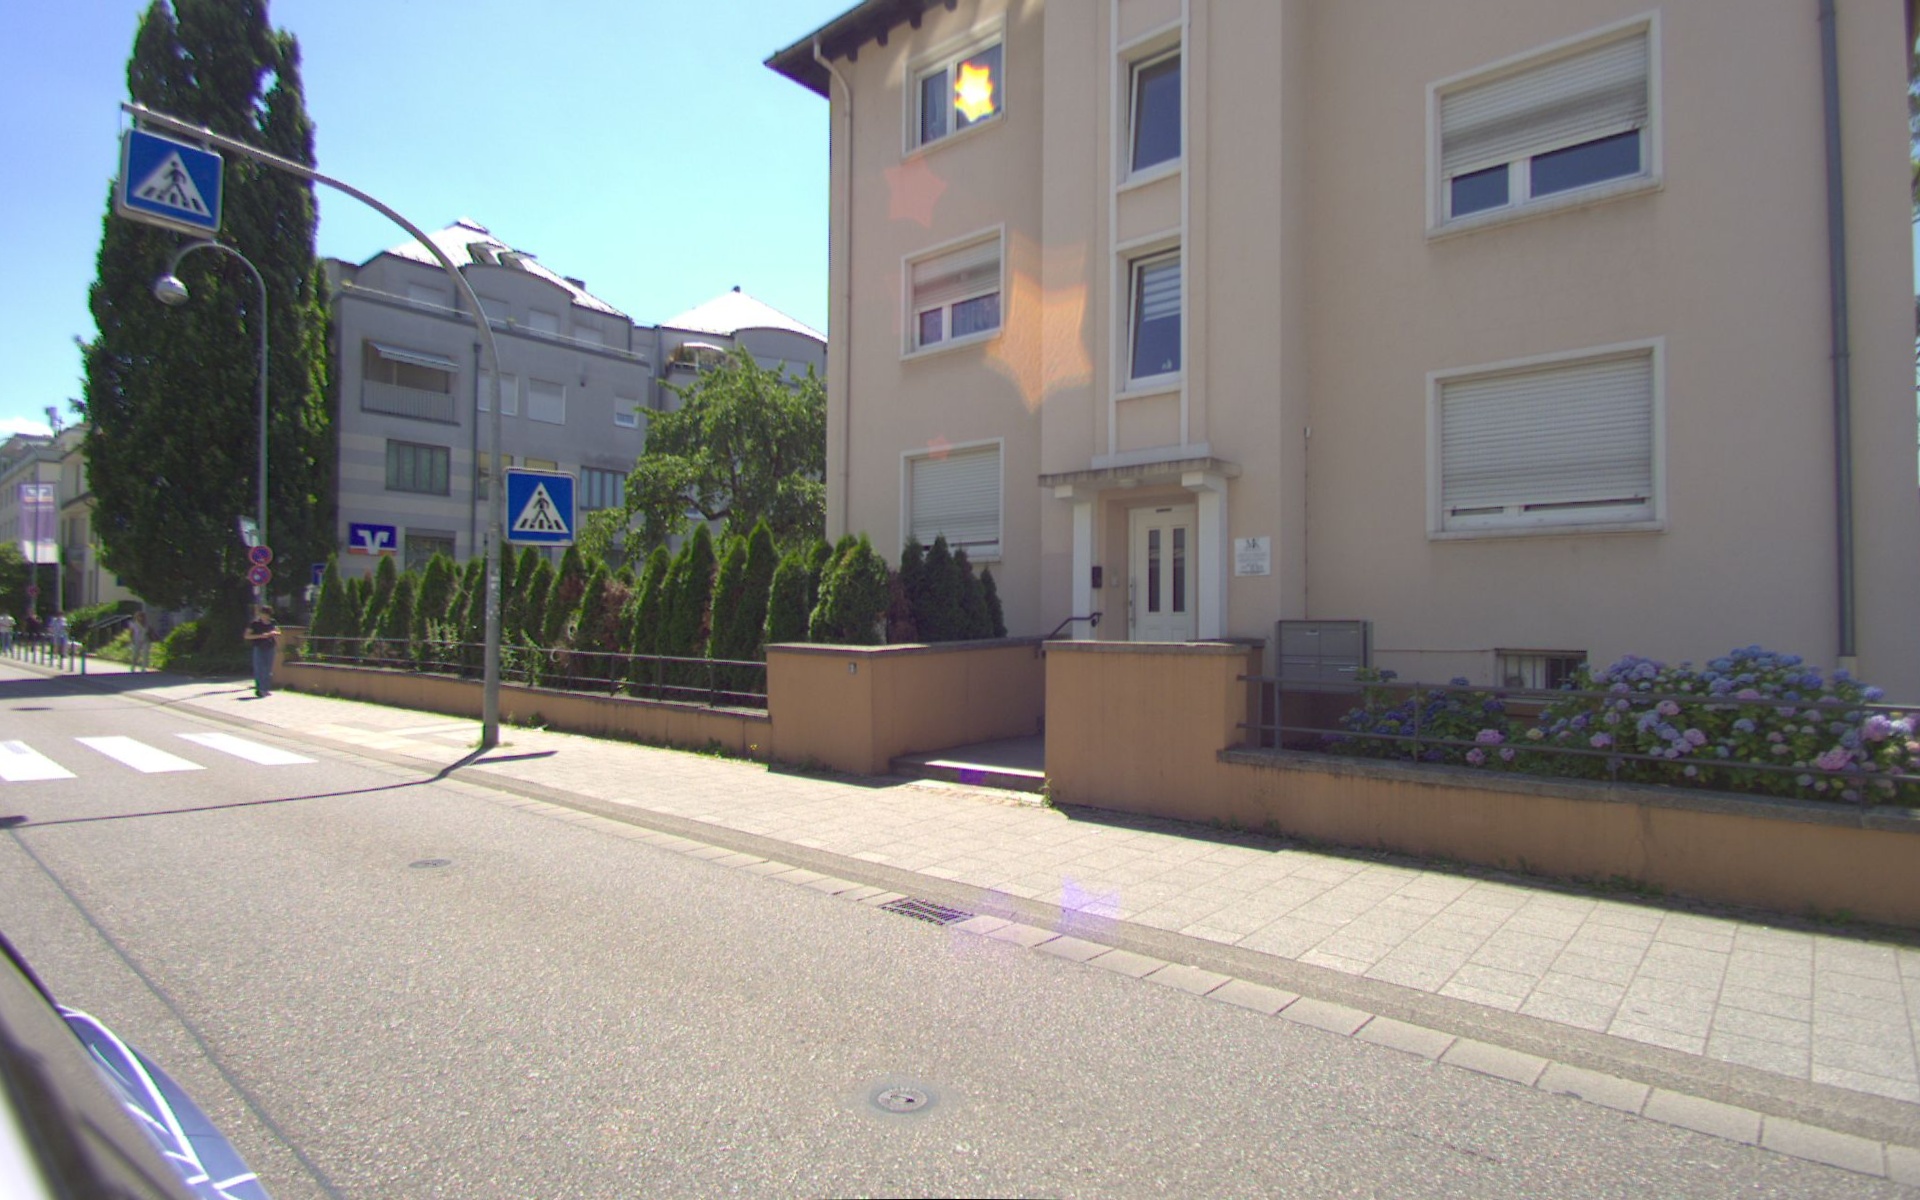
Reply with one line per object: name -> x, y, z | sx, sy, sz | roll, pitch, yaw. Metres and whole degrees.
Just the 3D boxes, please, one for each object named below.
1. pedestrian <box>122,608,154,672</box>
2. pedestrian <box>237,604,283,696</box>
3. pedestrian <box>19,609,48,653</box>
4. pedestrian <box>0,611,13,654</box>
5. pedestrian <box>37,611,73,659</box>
pedestrian -> -21.959, 1.060, 27.039 | 0.708, 1.698, 0.531 | -1, -2, 41
pedestrian -> -13.141, 0.921, 18.994 | 0.708, 1.698, 0.531 | -1, -2, 41
pedestrian -> -37.835, 1.250, 41.339 | 0.950, 1.784, 0.740 | -1, -2, 40
pedestrian -> -38.693, 1.318, 40.806 | 0.903, 1.689, 0.614 | -1, 0, 40
pedestrian -> -32.082, 1.216, 35.876 | 0.751, 1.657, 0.836 | 0, 1, 42
